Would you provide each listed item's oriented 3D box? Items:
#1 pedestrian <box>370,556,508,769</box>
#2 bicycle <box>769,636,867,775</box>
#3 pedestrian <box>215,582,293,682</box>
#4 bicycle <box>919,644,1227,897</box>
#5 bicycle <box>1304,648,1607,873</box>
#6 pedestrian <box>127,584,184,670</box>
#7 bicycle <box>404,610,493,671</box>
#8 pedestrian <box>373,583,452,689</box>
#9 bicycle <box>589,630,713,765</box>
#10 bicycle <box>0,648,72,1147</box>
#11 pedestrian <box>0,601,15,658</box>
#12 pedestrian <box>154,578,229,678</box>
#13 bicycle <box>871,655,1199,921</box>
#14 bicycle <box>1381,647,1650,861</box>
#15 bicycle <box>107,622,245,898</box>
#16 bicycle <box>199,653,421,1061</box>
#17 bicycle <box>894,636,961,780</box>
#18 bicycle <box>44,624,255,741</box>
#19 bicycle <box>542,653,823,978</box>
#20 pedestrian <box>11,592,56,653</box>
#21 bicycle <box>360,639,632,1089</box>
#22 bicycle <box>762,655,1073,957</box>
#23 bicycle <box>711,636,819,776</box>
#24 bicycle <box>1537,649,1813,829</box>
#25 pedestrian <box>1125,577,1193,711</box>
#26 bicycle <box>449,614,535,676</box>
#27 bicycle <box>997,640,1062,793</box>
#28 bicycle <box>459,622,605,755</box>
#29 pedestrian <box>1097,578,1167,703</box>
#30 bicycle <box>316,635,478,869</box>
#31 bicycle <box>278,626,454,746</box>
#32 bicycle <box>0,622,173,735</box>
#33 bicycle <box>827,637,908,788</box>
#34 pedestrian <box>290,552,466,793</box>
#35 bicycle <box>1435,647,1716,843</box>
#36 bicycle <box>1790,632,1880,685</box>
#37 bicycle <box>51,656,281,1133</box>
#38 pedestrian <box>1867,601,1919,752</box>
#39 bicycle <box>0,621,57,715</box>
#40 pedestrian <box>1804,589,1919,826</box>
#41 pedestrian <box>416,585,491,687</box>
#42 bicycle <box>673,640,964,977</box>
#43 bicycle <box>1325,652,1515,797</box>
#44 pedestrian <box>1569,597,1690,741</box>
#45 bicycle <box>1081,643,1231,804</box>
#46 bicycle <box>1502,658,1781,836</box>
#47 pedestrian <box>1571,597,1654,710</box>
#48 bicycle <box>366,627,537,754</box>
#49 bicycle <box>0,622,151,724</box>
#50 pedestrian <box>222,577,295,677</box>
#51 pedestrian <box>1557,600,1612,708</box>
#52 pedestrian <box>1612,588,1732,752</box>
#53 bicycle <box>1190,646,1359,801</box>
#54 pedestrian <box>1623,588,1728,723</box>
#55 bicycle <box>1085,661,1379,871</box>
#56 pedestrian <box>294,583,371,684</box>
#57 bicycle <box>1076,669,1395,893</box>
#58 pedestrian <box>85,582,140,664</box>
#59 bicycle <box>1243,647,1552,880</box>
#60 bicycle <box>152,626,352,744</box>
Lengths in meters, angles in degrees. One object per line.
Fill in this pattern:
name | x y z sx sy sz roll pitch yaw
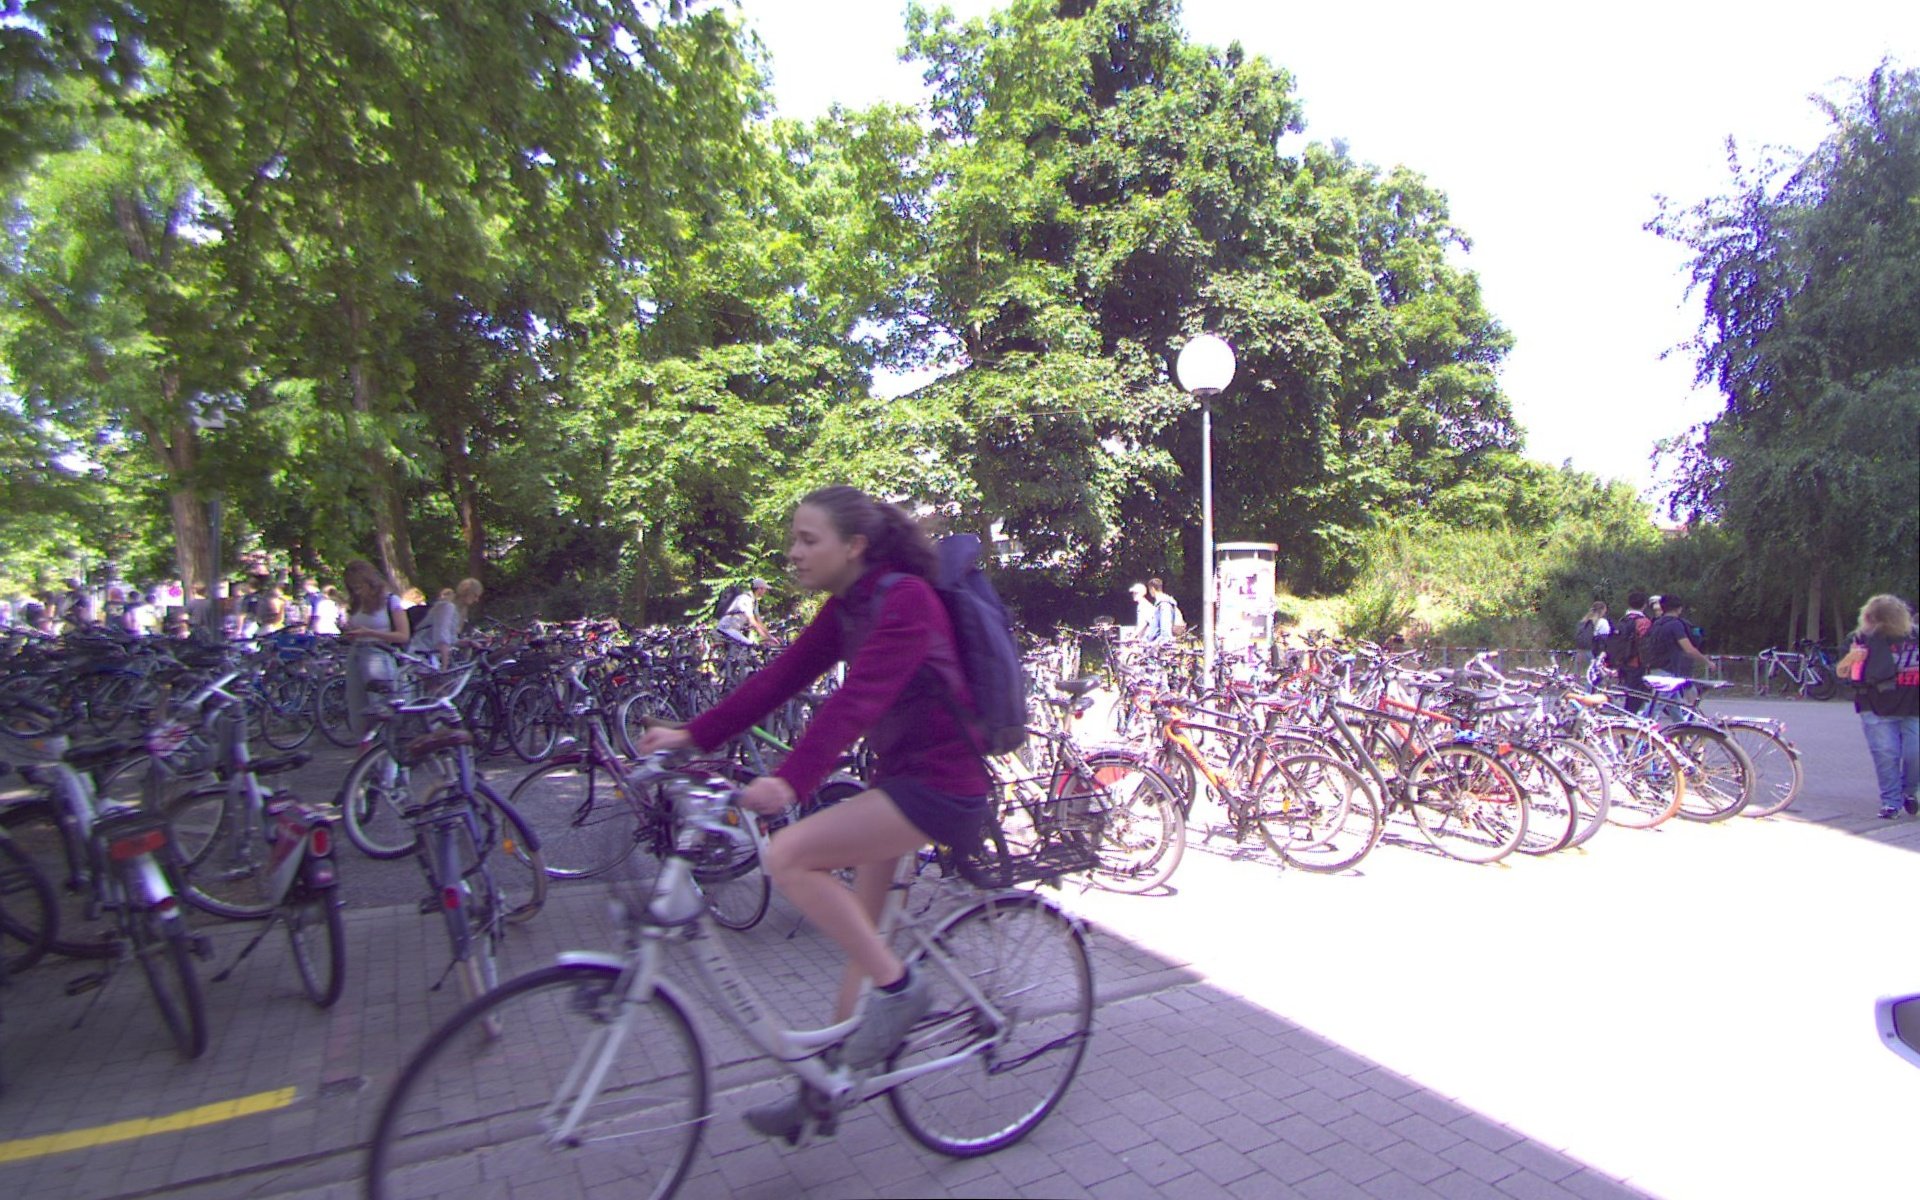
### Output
pedestrian | -4.534 0.510 8.743 0.900 1.725 0.761 1 0 -41
bicycle | -1.258 0.904 9.195 0.464 1.098 1.700 1 0 6
pedestrian | -12.373 0.547 17.603 0.890 1.702 0.769 1 0 27
bicycle | 0.595 0.875 5.643 1.671 1.173 0.473 1 0 34
bicycle | 3.122 0.946 6.468 0.470 1.184 1.678 1 0 -42
pedestrian | -17.356 0.565 21.676 0.893 1.798 0.767 1 0 38
bicycle | -9.918 0.758 19.545 0.507 1.125 1.779 1 0 12
pedestrian | -9.120 0.577 16.735 0.890 1.702 0.769 1 0 27
bicycle | -2.854 0.858 9.436 0.464 1.098 1.700 1 0 6
bicycle | -3.028 0.768 3.044 0.470 1.161 1.679 1 0 -41
pedestrian | -31.015 0.936 32.346 0.894 1.798 0.766 1 0 42
pedestrian | -14.183 0.502 18.549 0.890 1.798 0.769 1 0 27
bicycle | 0.348 0.894 5.249 1.671 1.123 0.473 1 0 34
bicycle | 3.698 0.961 6.876 0.466 1.184 1.775 1 0 -16
bicycle | -4.298 0.762 5.463 0.499 1.236 1.679 1 0 -40
bicycle | -2.503 0.807 3.786 0.470 1.123 1.679 1 0 -40
bicycle | -0.262 0.898 8.922 0.465 1.098 1.700 1 0 1
bicycle | -8.449 0.819 10.566 0.465 1.098 1.699 1 0 22
bicycle | -1.329 0.848 4.580 0.561 1.123 1.679 1 0 -41
pedestrian | -27.644 0.664 29.982 0.761 1.798 0.900 1 0 -30
bicycle | -1.776 0.785 3.700 0.532 1.214 1.681 1 0 -38
bicycle | -0.275 0.876 4.881 0.578 1.123 1.679 1 0 -41
bicycle | -1.733 0.905 9.149 0.464 1.098 1.700 1 0 6
bicycle | 5.514 1.015 7.843 0.470 1.174 1.681 1 0 -38
pedestrian | 2.856 0.603 14.348 0.865 1.839 0.835 1 0 16
bicycle | -9.015 0.836 19.427 0.507 1.125 1.779 1 0 12
bicycle | 0.610 0.925 8.521 0.464 1.098 1.700 1 0 5
bicycle | -3.944 0.772 9.401 0.464 1.098 1.700 1 0 6
pedestrian | 2.615 0.600 15.230 0.964 1.828 0.770 1 0 13
bicycle | -3.349 0.799 5.906 0.499 1.123 1.679 1 0 -40
bicycle | -6.033 0.830 10.314 0.464 1.098 1.700 1 0 15
bicycle | -9.430 0.794 10.644 0.465 1.098 1.699 1 0 22
bicycle | -0.757 0.896 8.568 0.465 1.098 1.700 1 0 2
pedestrian | -4.424 0.521 7.700 0.754 1.725 0.907 1 0 5
bicycle | 4.411 0.976 7.326 0.469 1.184 1.682 1 0 -35
bicycle | 19.091 1.269 21.931 1.668 1.061 0.473 2 1 -9
bicycle | -2.689 0.798 3.363 0.470 1.123 1.679 1 0 -41
pedestrian | 11.429 0.896 11.987 0.723 1.747 0.680 1 1 -32
bicycle | -11.608 0.798 11.602 0.465 1.098 1.699 1 0 22
pedestrian | 7.107 0.787 7.683 0.756 1.702 0.906 2 1 27
pedestrian | -8.795 0.612 17.443 0.890 1.702 0.769 1 0 27
bicycle | -0.718 0.823 4.607 0.470 1.203 1.679 1 0 -40
bicycle | 3.882 1.004 8.440 1.678 1.098 0.505 2 0 -27
pedestrian | 8.354 0.837 12.574 1.043 1.747 0.719 0 0 3
bicycle | 1.544 0.938 8.194 0.466 1.098 1.694 1 0 -16
bicycle | 5.102 1.040 7.628 0.469 1.106 1.682 1 0 -35
pedestrian | 10.295 0.827 15.874 0.918 1.747 0.678 0 0 11
bicycle | -4.912 0.831 9.839 0.464 1.098 1.700 1 0 15
bicycle | -10.443 0.811 11.592 0.465 1.098 1.699 1 0 22
pedestrian | -13.079 0.491 18.747 0.890 1.798 0.769 1 0 27
pedestrian | 10.352 0.880 16.673 0.673 1.747 0.731 0 0 24
pedestrian | 8.295 0.793 11.738 0.922 1.860 0.686 0 0 4
bicycle | 2.596 0.976 8.483 0.466 1.098 1.693 1 0 -17
pedestrian | 10.179 0.784 14.317 1.029 1.860 0.614 1 0 0
bicycle | 1.653 0.961 6.185 1.667 1.076 0.474 1 0 26
pedestrian | -10.888 0.564 17.435 0.890 1.702 0.769 1 0 27
bicycle | 1.534 0.962 5.684 1.667 1.032 0.474 1 0 26
pedestrian | -19.057 0.498 22.588 0.892 1.798 0.767 1 0 37
bicycle | 2.647 0.925 6.219 1.676 1.184 0.471 1 0 44
bicycle | -7.265 0.829 10.406 0.465 1.098 1.699 1 0 22
